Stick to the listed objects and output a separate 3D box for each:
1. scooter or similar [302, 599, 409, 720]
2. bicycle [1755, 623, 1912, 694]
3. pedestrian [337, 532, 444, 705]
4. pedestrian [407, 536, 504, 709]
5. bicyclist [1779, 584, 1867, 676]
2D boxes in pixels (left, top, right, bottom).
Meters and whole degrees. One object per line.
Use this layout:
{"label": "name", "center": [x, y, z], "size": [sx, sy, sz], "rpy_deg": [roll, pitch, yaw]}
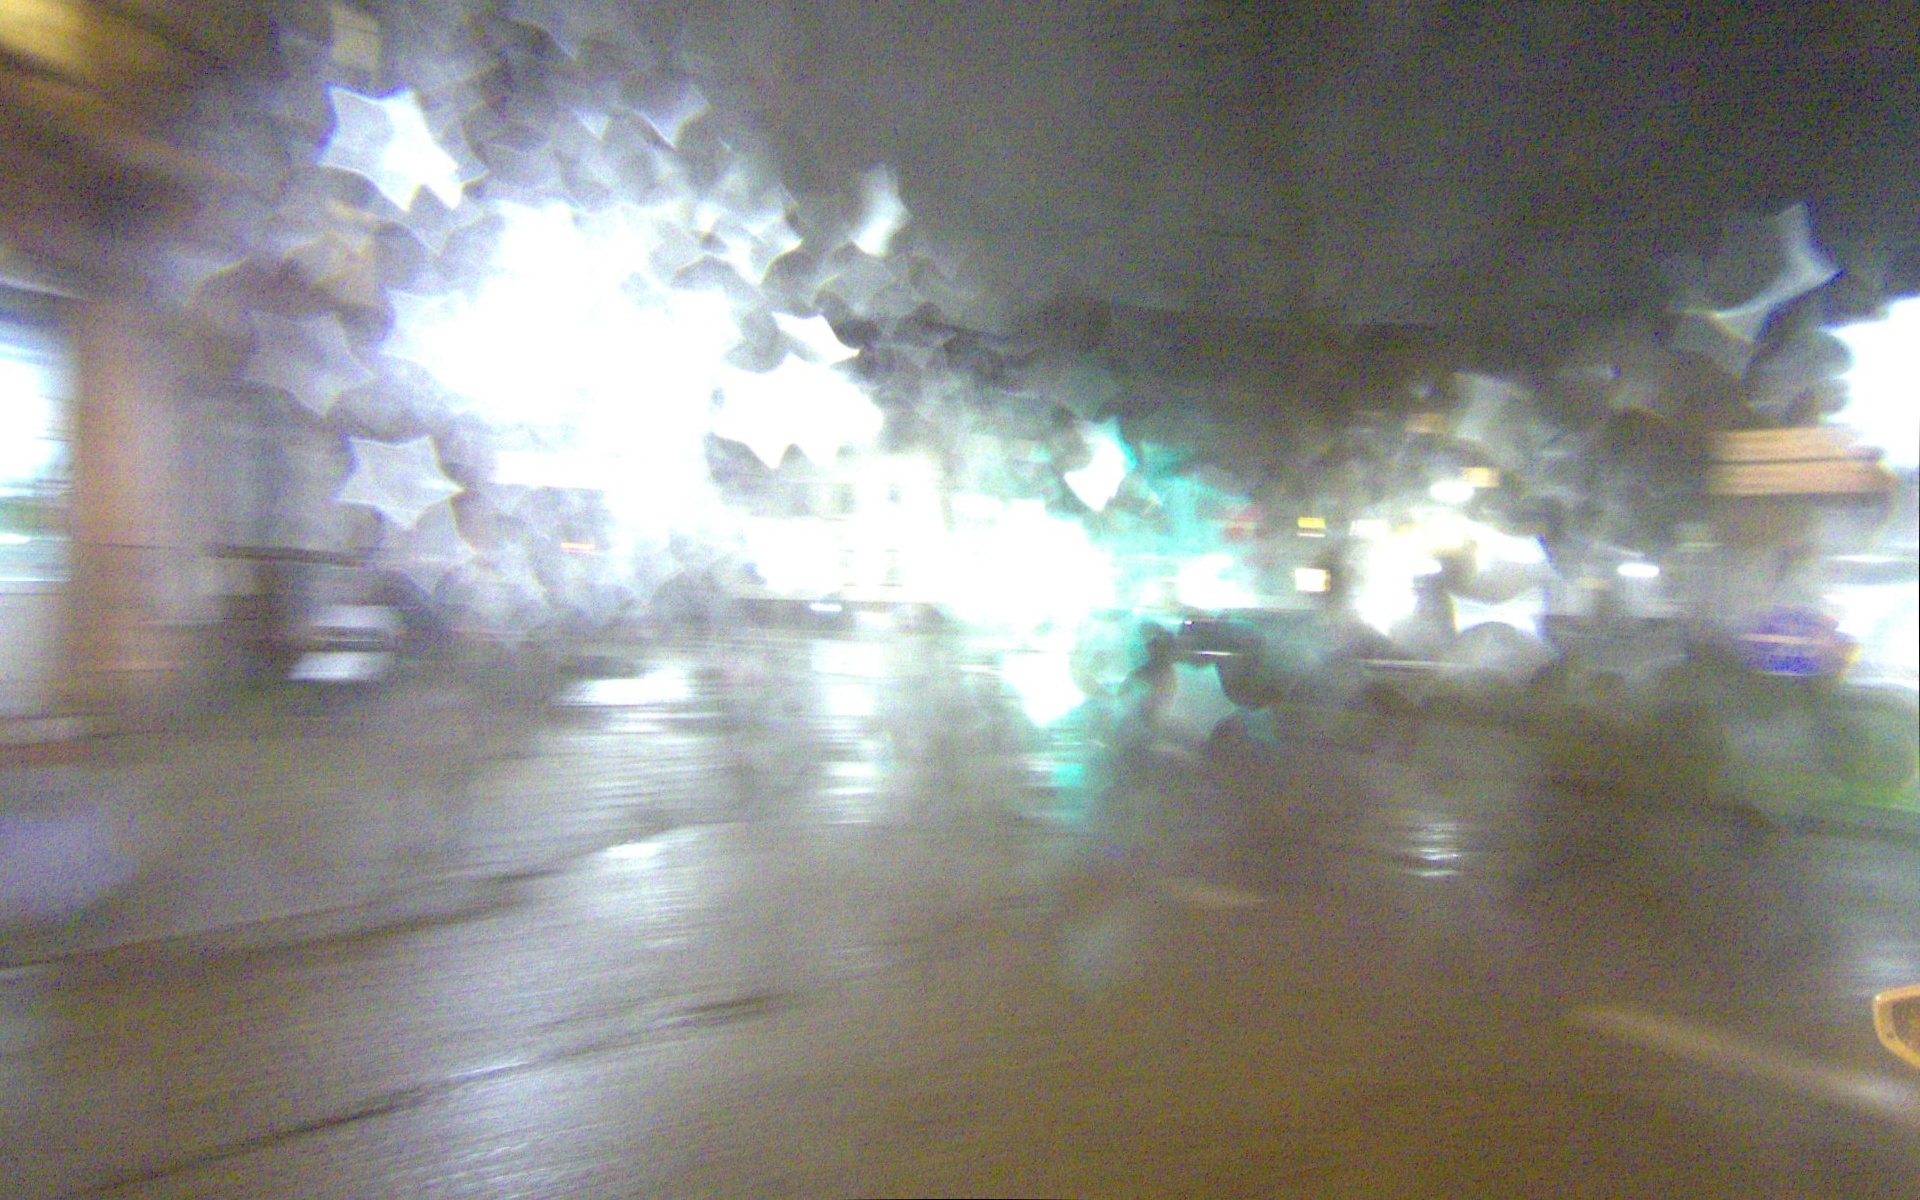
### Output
{"label": "scooter or similar", "center": [-6.241, 0.588, 10.416], "size": [0.561, 1.141, 0.932], "rpy_deg": [3, 2, -5]}
{"label": "bicycle", "center": [13.816, 0.913, 15.950], "size": [1.750, 0.944, 0.499], "rpy_deg": [4, 2, 25]}
{"label": "pedestrian", "center": [-6.398, 0.188, 11.329], "size": [0.681, 1.845, 0.946], "rpy_deg": [3, 2, -6]}
{"label": "pedestrian", "center": [-5.666, 0.230, 11.323], "size": [0.682, 1.845, 0.945], "rpy_deg": [3, 2, -11]}
{"label": "bicyclist", "center": [13.847, 0.463, 16.141], "size": [0.877, 1.399, 0.504], "rpy_deg": [4, 2, 24]}
